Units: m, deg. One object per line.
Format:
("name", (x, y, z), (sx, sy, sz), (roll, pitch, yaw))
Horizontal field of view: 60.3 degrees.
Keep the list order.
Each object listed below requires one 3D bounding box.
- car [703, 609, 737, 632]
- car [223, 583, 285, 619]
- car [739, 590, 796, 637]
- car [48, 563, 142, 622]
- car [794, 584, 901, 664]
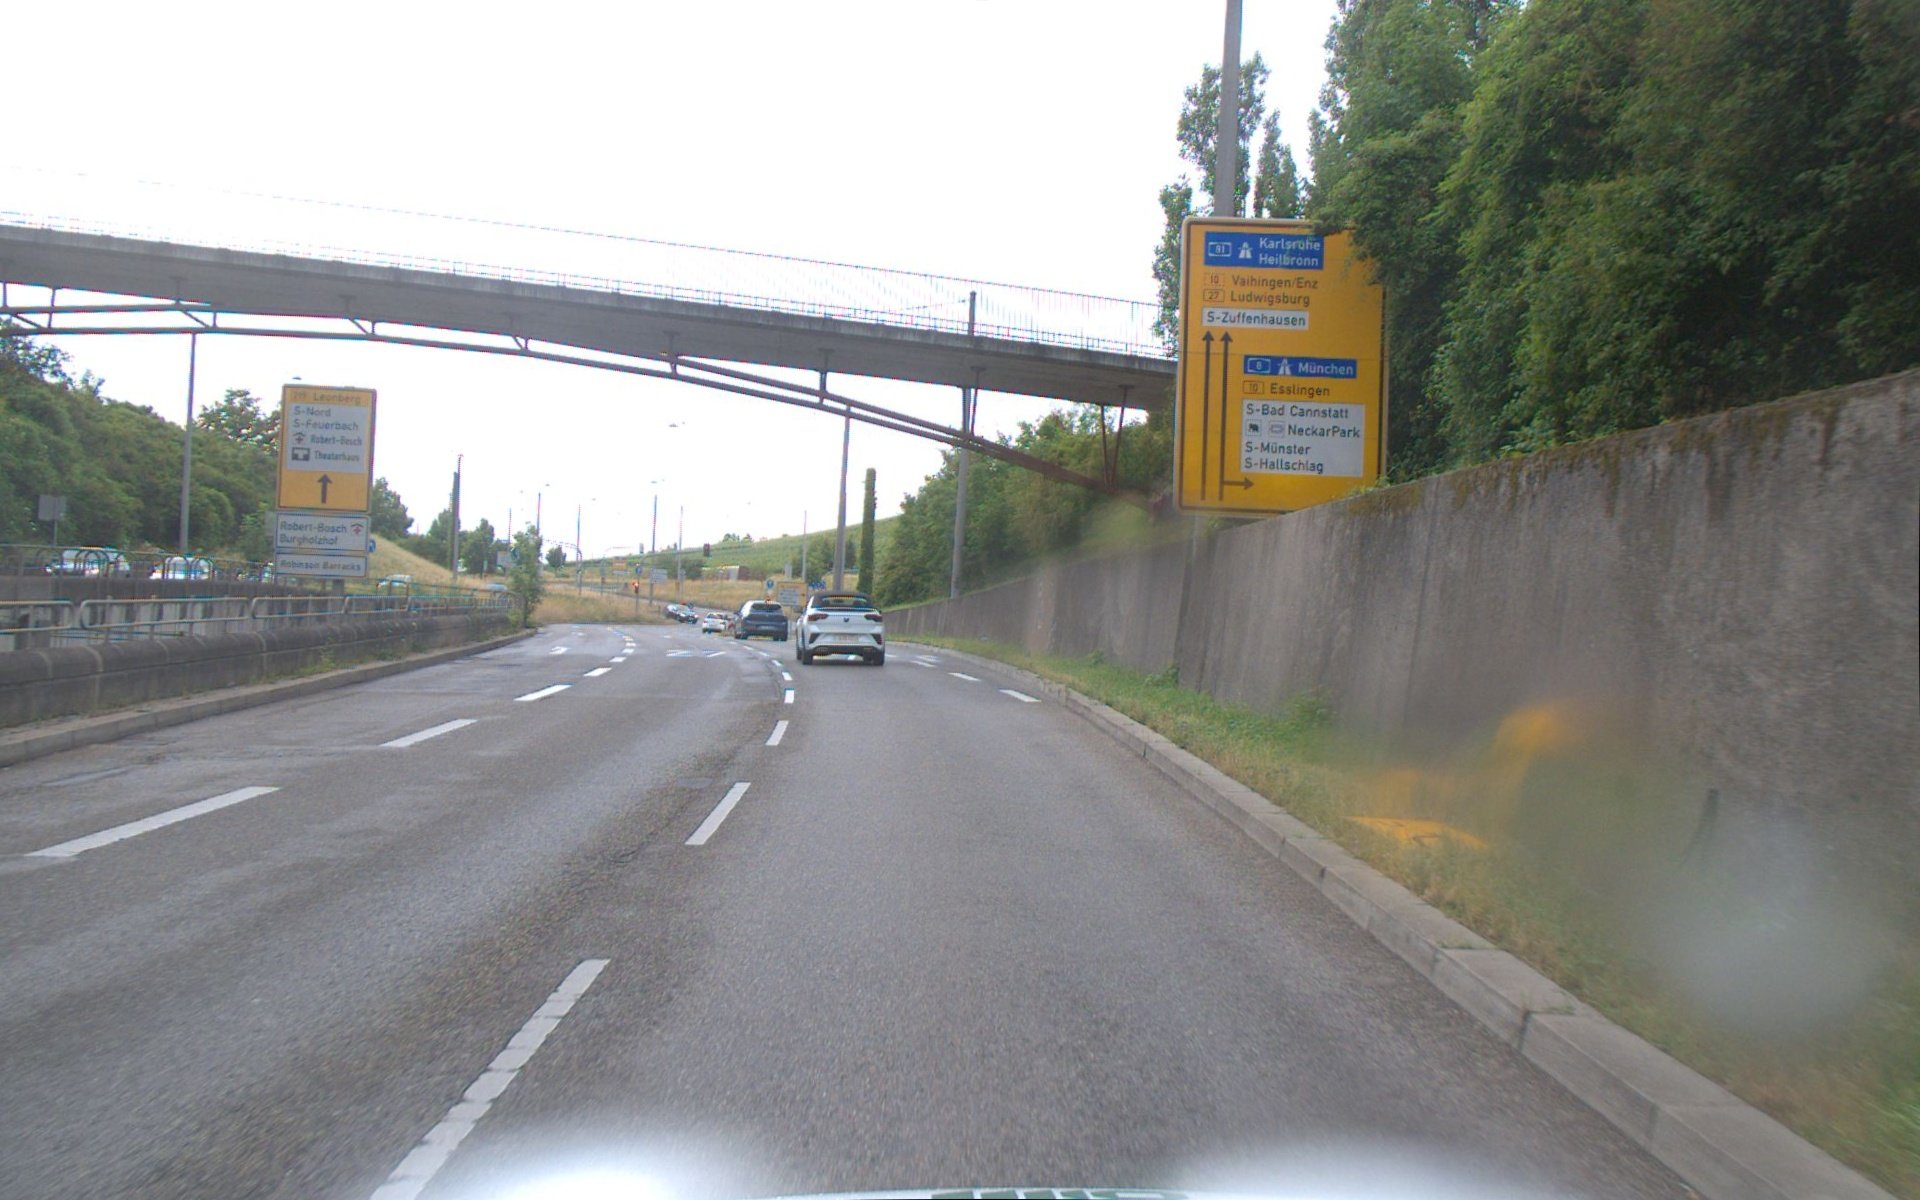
("car", (-17.610, 1.523, 121.480), (1.738, 1.545, 3.725), (5, -1, 2))
("car", (-34.923, 0.061, 81.936), (1.959, 1.751, 4.689), (0, 0, -13))
("car", (-7.385, 0.545, 63.155), (1.891, 1.627, 4.052), (3, -2, -9))
("car", (-29.839, -0.253, 57.179), (1.641, 1.949, 4.546), (0, 0, -11))
("car", (-2.523, 0.469, 36.189), (1.959, 1.606, 4.116), (0, 1, -10))
